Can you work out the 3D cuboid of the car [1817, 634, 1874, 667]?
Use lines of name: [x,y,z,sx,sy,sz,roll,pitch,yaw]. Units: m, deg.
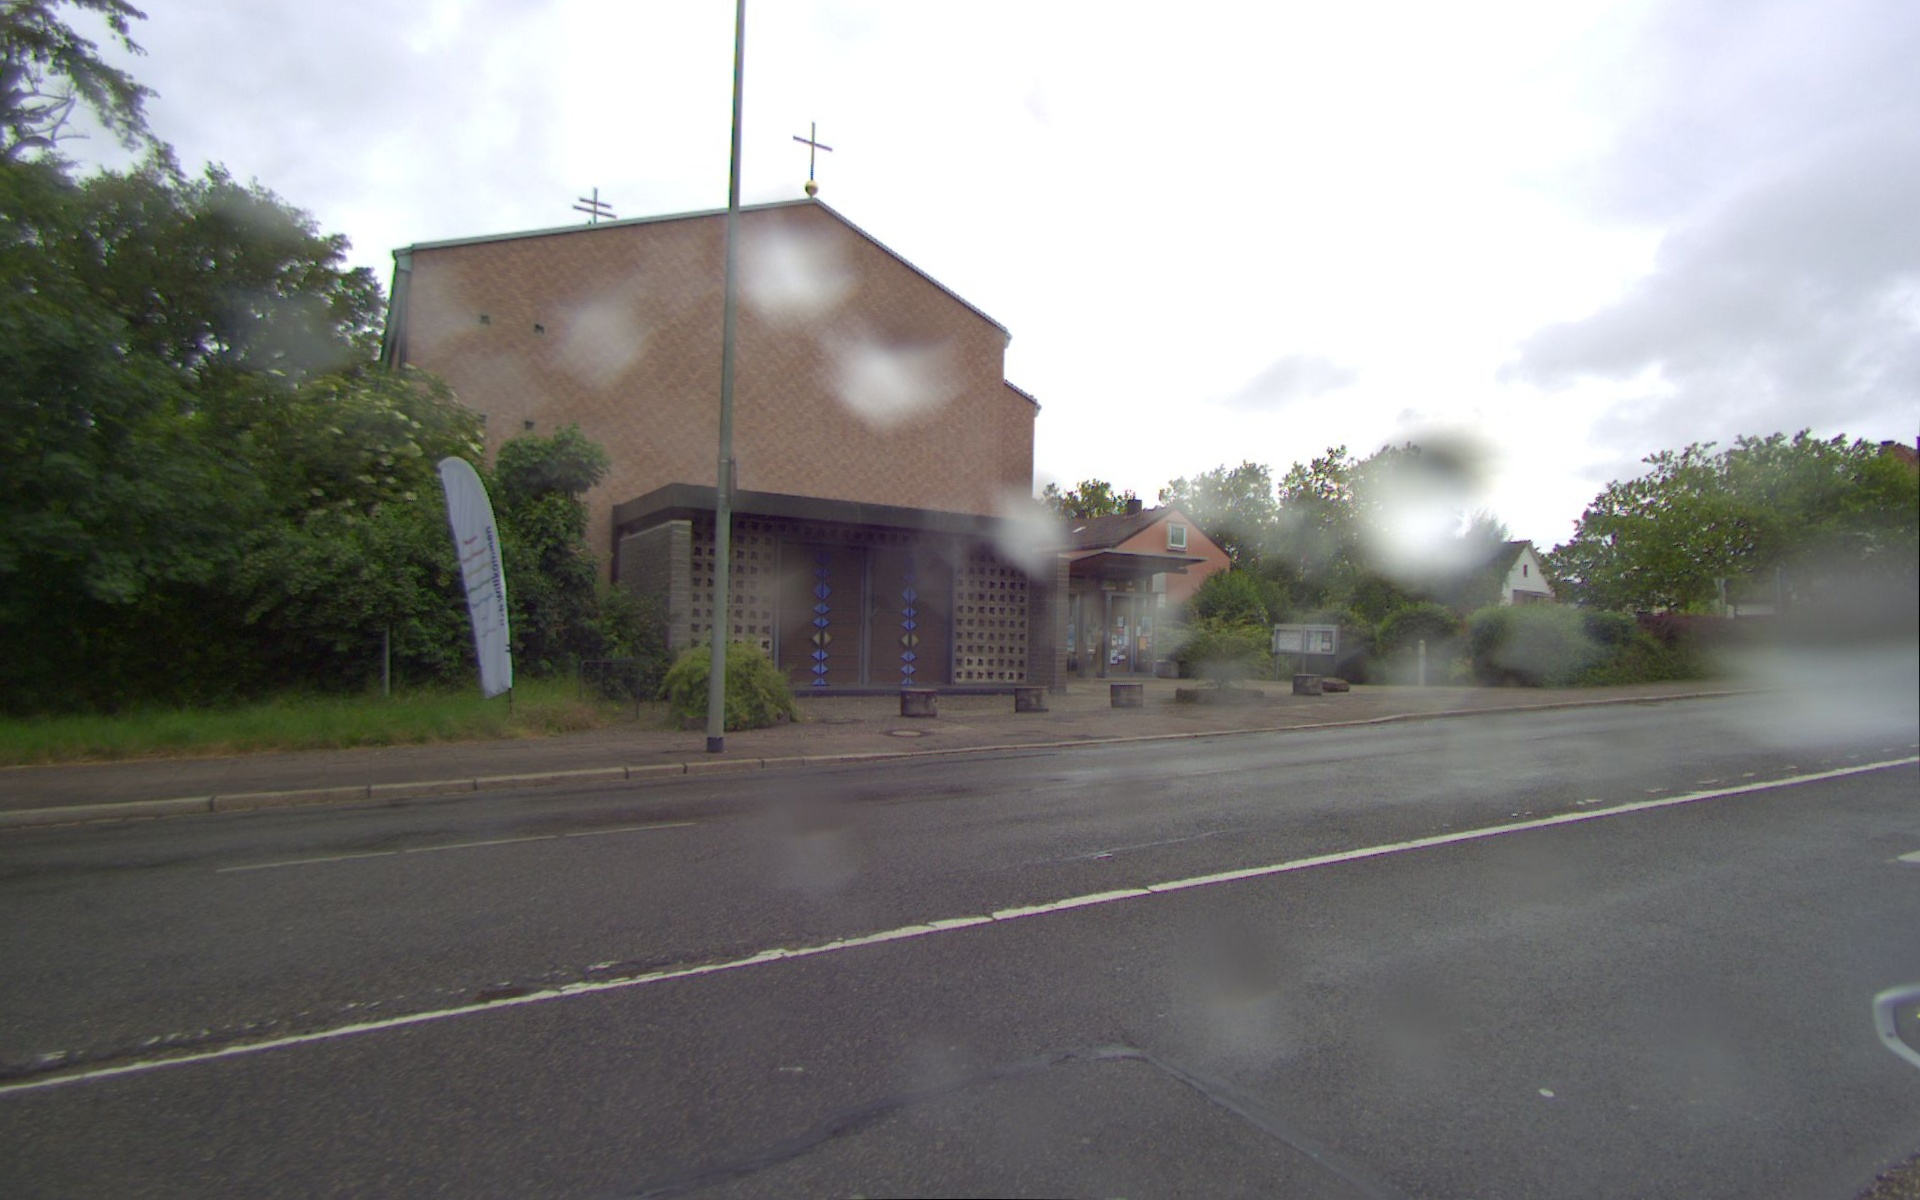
car: [45.713,2.566,51.932,1.969,1.572,3.983,0,-1,38]
